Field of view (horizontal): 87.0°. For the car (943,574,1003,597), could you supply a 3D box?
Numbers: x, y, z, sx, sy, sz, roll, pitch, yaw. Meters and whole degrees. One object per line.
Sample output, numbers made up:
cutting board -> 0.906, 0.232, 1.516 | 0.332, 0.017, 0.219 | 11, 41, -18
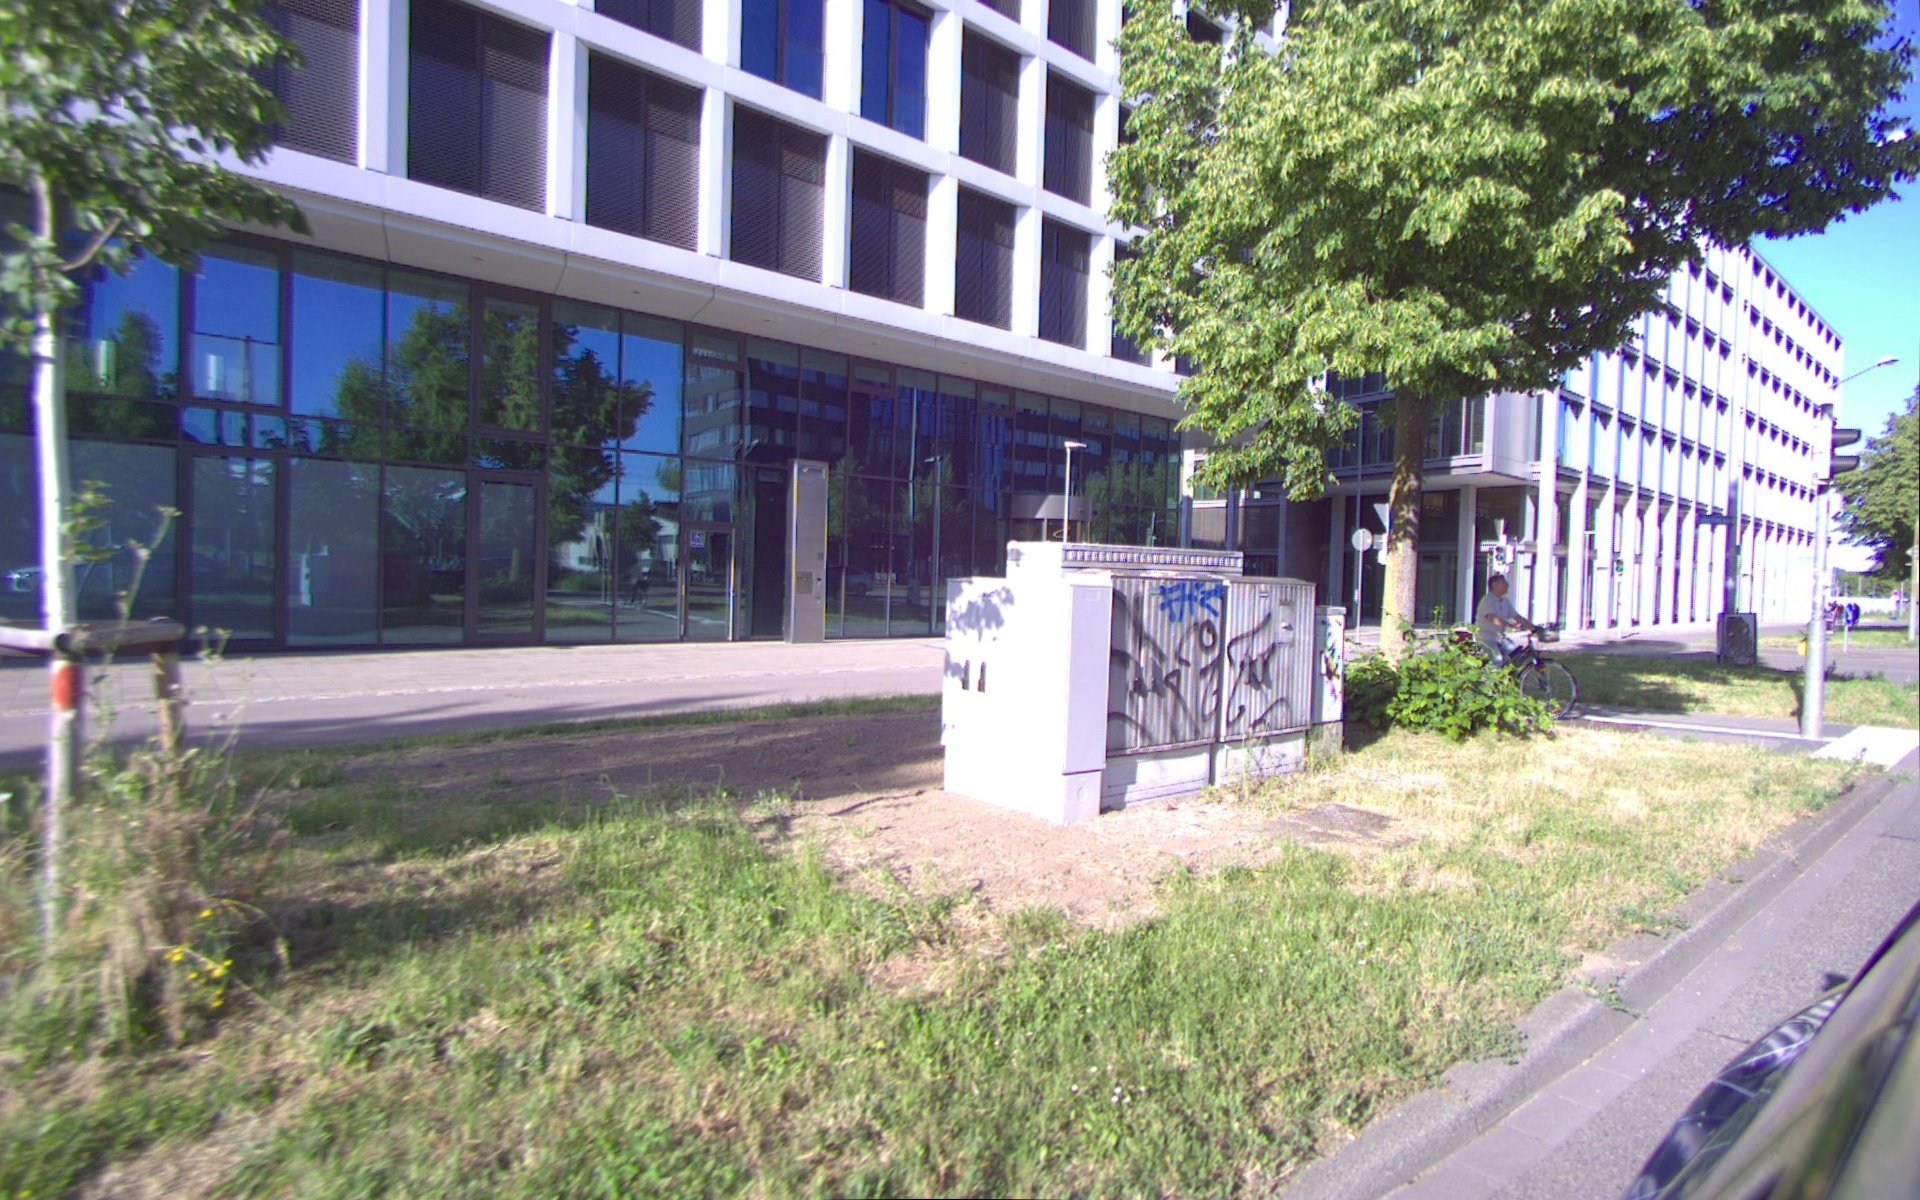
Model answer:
car -> 0.918, -1.013, 70.746 | 3.918, 1.523, 1.663 | 1, 1, -28

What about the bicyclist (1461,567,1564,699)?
bicyclist -> 6.859, 0.387, 12.573 | 0.760, 1.550, 0.849 | 1, 2, -38

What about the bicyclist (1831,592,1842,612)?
bicyclist -> 57.961, 0.138, 66.931 | 0.410, 1.305, 0.448 | 0, 1, -39

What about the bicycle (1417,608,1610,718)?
bicycle -> 6.832, 0.728, 12.583 | 0.730, 1.188, 1.961 | 1, 1, -37

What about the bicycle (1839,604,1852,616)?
bicycle -> 60.570, 0.680, 69.214 | 1.321, 0.828, 0.464 | 0, 1, -40

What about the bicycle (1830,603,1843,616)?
bicycle -> 57.976, 0.637, 66.947 | 1.296, 0.828, 0.415 | 0, 1, -40

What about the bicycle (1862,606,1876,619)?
bicycle -> 61.254, 0.826, 68.193 | 1.321, 0.828, 0.464 | 0, 1, -40

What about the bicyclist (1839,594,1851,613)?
bicyclist -> 60.527, 0.229, 69.192 | 0.449, 1.305, 0.534 | 0, 1, -39

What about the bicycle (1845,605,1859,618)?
bicycle -> 58.554, 0.723, 66.415 | 1.321, 0.828, 0.464 | 0, 1, -40

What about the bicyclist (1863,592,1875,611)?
bicyclist -> 61.265, 0.106, 68.200 | 0.511, 1.305, 0.534 | 0, 1, -39
